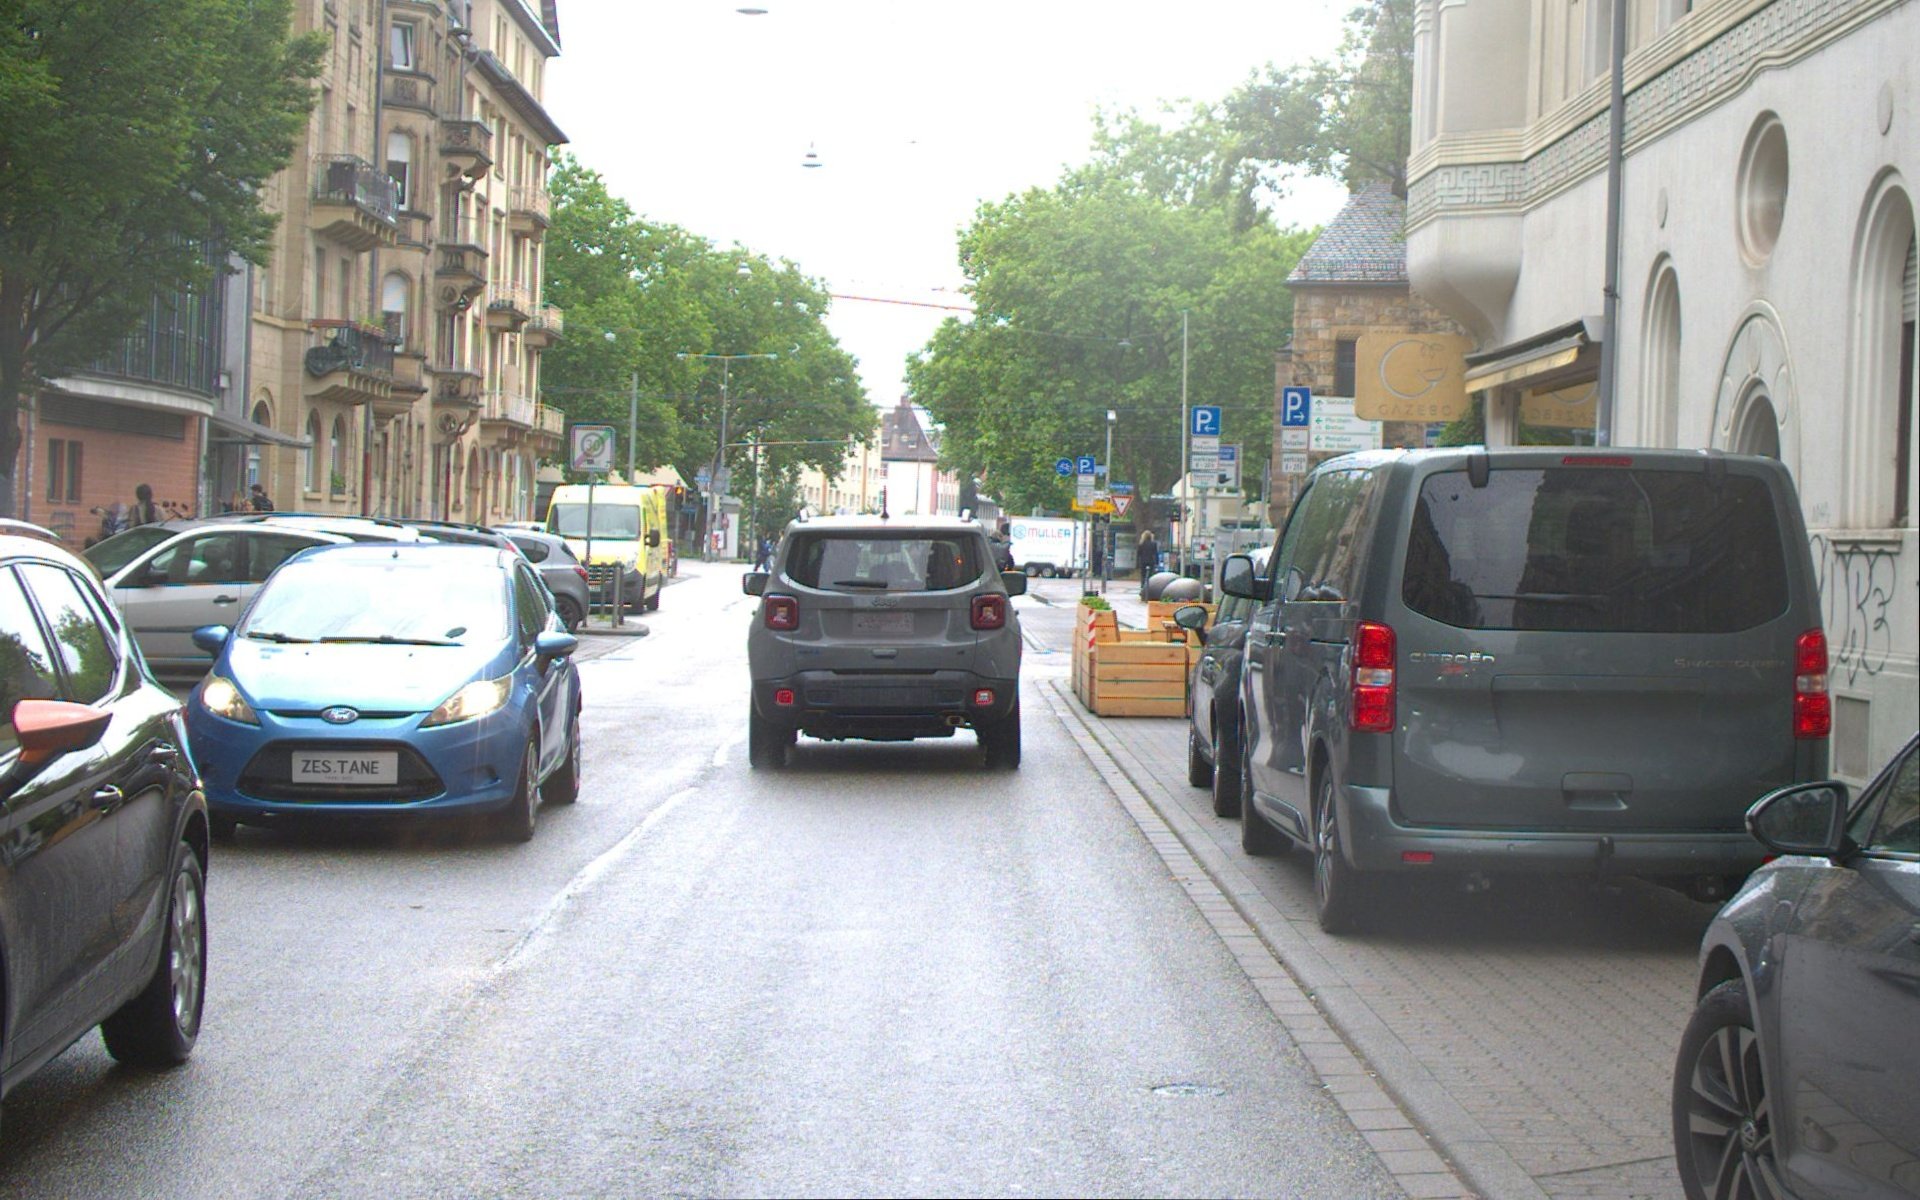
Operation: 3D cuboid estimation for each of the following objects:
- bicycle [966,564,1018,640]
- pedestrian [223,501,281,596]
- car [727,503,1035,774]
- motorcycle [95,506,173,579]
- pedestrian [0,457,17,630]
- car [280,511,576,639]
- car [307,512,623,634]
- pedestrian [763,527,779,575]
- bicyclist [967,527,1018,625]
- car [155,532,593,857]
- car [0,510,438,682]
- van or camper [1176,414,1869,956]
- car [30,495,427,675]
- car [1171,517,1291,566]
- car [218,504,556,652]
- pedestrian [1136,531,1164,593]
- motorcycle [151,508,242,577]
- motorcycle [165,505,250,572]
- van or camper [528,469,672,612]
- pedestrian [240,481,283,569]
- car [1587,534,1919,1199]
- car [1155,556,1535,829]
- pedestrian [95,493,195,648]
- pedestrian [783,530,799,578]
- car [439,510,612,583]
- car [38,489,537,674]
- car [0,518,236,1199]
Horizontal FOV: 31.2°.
[{"bbox_3d":[0.454,0.016,49.738,0.705,1.050,1.813,1,1,0],"label":"bicycle"},{"bbox_3d":[-11.906,-0.867,57.806,0.709,1.546,0.607,4,1,6],"label":"pedestrian"},{"bbox_3d":[-0.559,0.207,23.947,1.898,1.665,4.506,1,1,-2],"label":"car"},{"bbox_3d":[-14.151,-0.991,58.953,0.753,1.170,2.116,4,1,0],"label":"motorcycle"},{"bbox_3d":[-9.735,-0.566,34.039,0.611,1.701,0.433,2,-1,0],"label":"pedestrian"},{"bbox_3d":[-6.936,-0.325,44.877,3.375,1.502,1.681,2,1,-31],"label":"car"},{"bbox_3d":[-6.857,-0.376,47.661,3.818,1.502,1.989,2,1,-31],"label":"car"},{"bbox_3d":[-6.368,-1.646,115.654,0.467,1.580,0.752,2,1,-1],"label":"pedestrian"},{"bbox_3d":[0.465,-0.354,49.732,0.705,1.399,1.171,1,1,0],"label":"bicyclist"},{"bbox_3d":[-2.918,0.406,17.869,1.669,1.460,4.004,1,1,-2],"label":"car"},{"bbox_3d":[-6.716,-0.047,30.658,3.702,1.447,1.685,0,1,-35],"label":"car"},{"bbox_3d":[2.139,0.250,14.634,2.021,1.884,5.055,1,1,-1],"label":"van or camper"},{"bbox_3d":[-7.061,-0.152,33.238,3.375,1.648,1.634,0,1,-33],"label":"car"},{"bbox_3d":[13.623,-2.959,173.167,5.905,2.326,2.059,1,1,3],"label":"car"},{"bbox_3d":[-6.544,-0.245,39.330,3.375,1.536,1.681,2,1,-31],"label":"car"},{"bbox_3d":[5.262,-1.055,95.125,0.690,1.705,0.684,1,1,0],"label":"pedestrian"},{"bbox_3d":[-14.034,-1.047,63.229,0.754,1.170,2.114,5,1,12],"label":"motorcycle"},{"bbox_3d":[-14.227,-1.159,65.022,0.572,1.170,1.778,5,1,23],"label":"motorcycle"},{"bbox_3d":[-6.983,-1.088,67.315,2.121,2.522,6.875,-2,-1,-1],"label":"van or camper"},{"bbox_3d":[-14.187,-1.522,69.817,0.660,1.751,0.797,1,1,-24],"label":"pedestrian"},{"bbox_3d":[2.300,0.693,5.200,1.841,1.540,4.004,1,1,-2],"label":"car"},{"bbox_3d":[2.132,0.465,19.976,1.710,1.396,3.705,1,1,-1],"label":"car"},{"bbox_3d":[-9.569,-0.355,40.391,0.825,1.746,0.757,4,1,6],"label":"pedestrian"},{"bbox_3d":[-5.727,-1.561,116.434,0.467,1.580,0.752,2,1,-1],"label":"pedestrian"},{"bbox_3d":[-10.487,-1.289,83.062,3.653,1.553,1.799,3,0,-36],"label":"car"},{"bbox_3d":[-7.059,-0.186,36.188,4.510,1.534,2.338,5,-2,-33],"label":"car"},{"bbox_3d":[-2.916,0.563,8.218,1.669,1.554,4.004,2,1,-3],"label":"car"}]
